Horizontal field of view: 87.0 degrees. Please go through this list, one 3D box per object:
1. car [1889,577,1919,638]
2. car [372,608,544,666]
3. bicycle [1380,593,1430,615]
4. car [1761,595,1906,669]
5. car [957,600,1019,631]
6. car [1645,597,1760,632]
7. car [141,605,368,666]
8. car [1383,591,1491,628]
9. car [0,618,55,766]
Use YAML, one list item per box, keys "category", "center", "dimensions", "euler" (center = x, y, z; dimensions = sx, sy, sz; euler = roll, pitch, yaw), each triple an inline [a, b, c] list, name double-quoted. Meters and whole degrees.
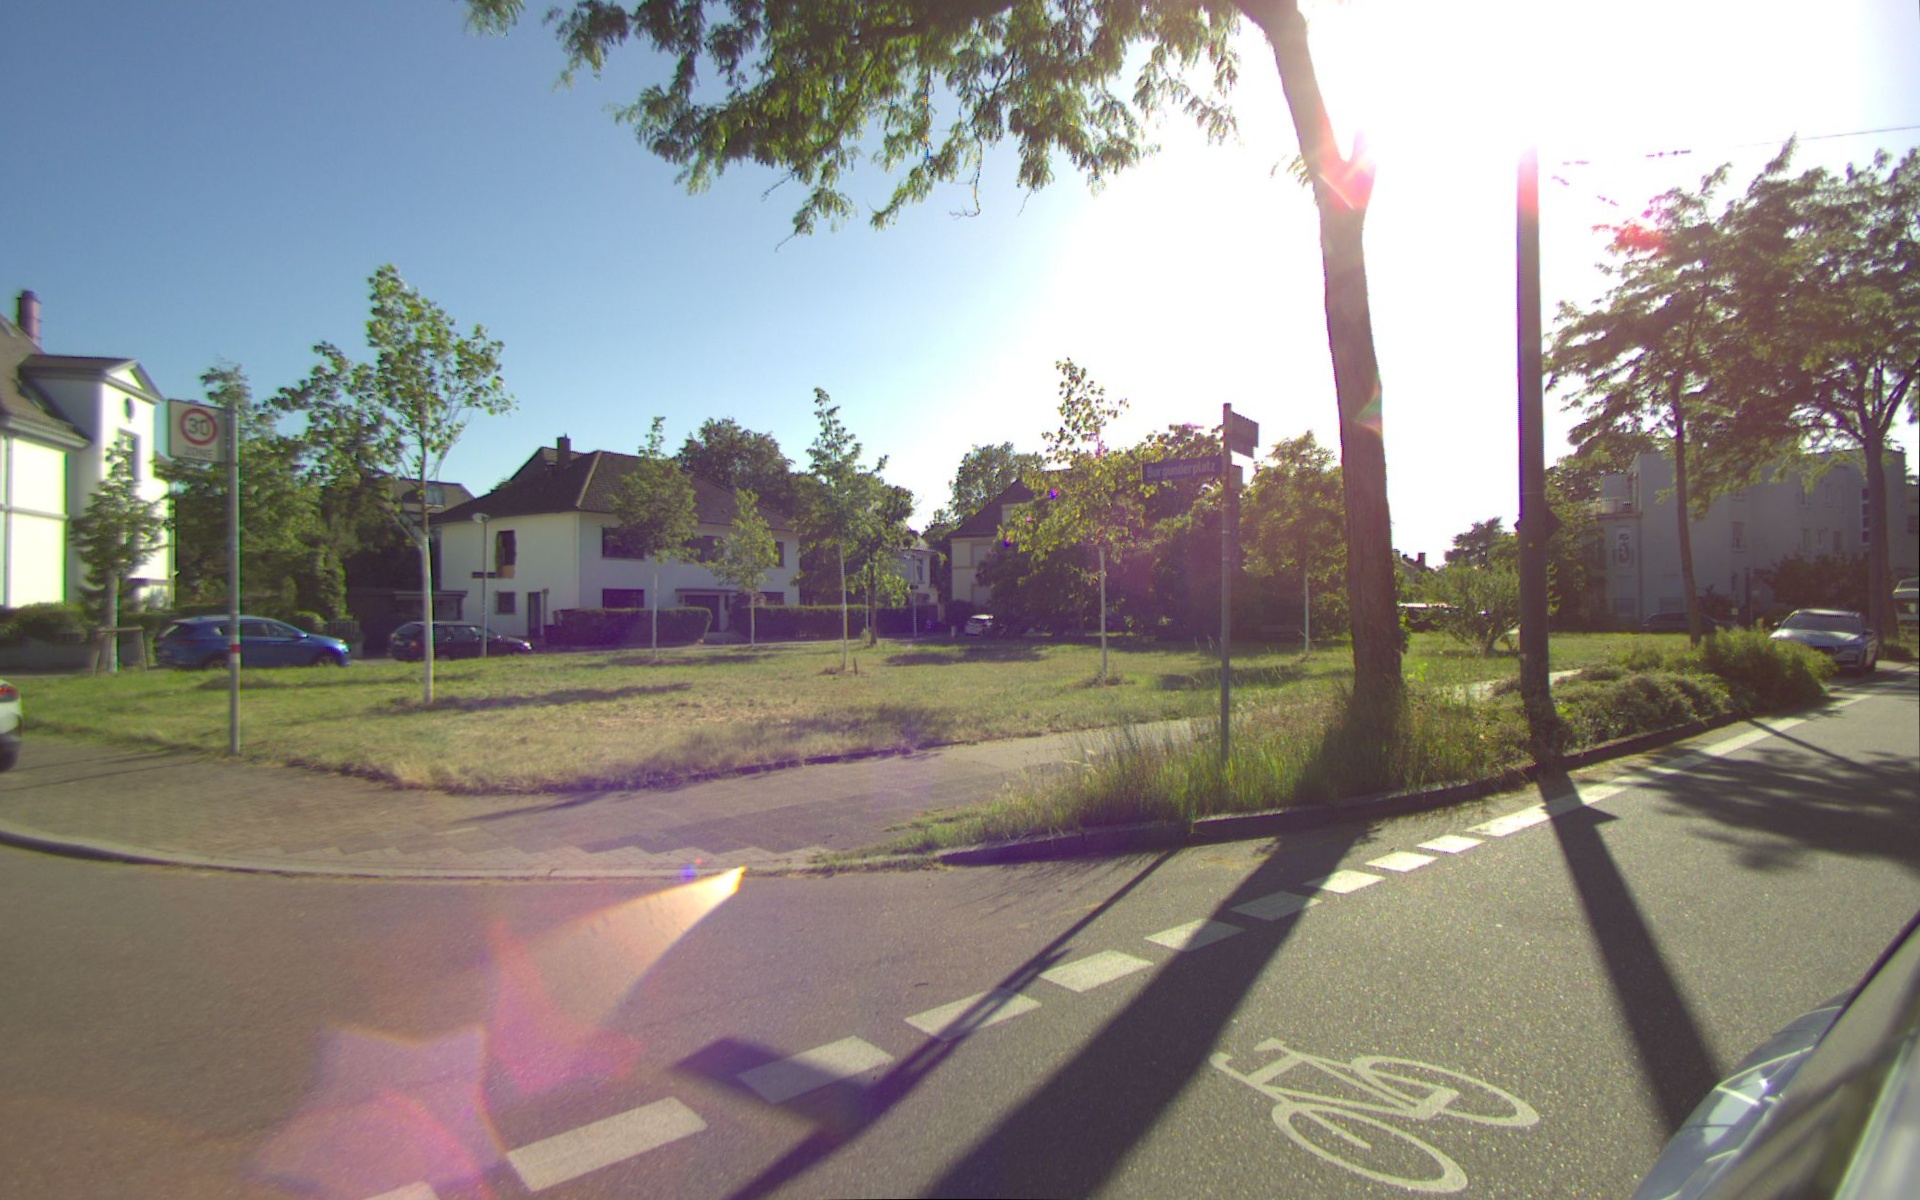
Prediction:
- category: "car"
  center: [35.056, 0.262, 36.421]
  dimensions: [4.636, 2.122, 1.996]
  euler: [0, 0, -43]
- category: "car"
  center: [-16.069, 1.138, 32.664]
  dimensions: [1.982, 1.671, 4.719]
  euler: [-2, -1, 29]
- category: "bicycle"
  center: [25.860, 0.258, 58.869]
  dimensions: [2.636, 1.247, 0.792]
  euler: [0, -1, 26]
- category: "car"
  center: [21.390, 0.681, 24.700]
  dimensions: [5.340, 1.483, 2.004]
  euler: [-1, 3, -42]
- category: "car"
  center: [1.777, 0.921, 62.852]
  dimensions: [1.988, 1.819, 3.948]
  euler: [-1, 0, 36]
- category: "car"
  center: [36.487, 0.693, 49.887]
  dimensions: [4.428, 1.508, 1.988]
  euler: [0, 3, 32]
- category: "car"
  center: [-19.130, 0.898, 27.687]
  dimensions: [2.047, 1.489, 4.705]
  euler: [-1, 0, 30]
- category: "car"
  center: [26.366, 0.526, 55.962]
  dimensions: [5.172, 1.909, 2.076]
  euler: [-2, -1, 32]
- category: "car"
  center: [-11.234, 0.891, 10.250]
  dimensions: [4.490, 1.386, 1.946]
  euler: [-1, 0, 32]
